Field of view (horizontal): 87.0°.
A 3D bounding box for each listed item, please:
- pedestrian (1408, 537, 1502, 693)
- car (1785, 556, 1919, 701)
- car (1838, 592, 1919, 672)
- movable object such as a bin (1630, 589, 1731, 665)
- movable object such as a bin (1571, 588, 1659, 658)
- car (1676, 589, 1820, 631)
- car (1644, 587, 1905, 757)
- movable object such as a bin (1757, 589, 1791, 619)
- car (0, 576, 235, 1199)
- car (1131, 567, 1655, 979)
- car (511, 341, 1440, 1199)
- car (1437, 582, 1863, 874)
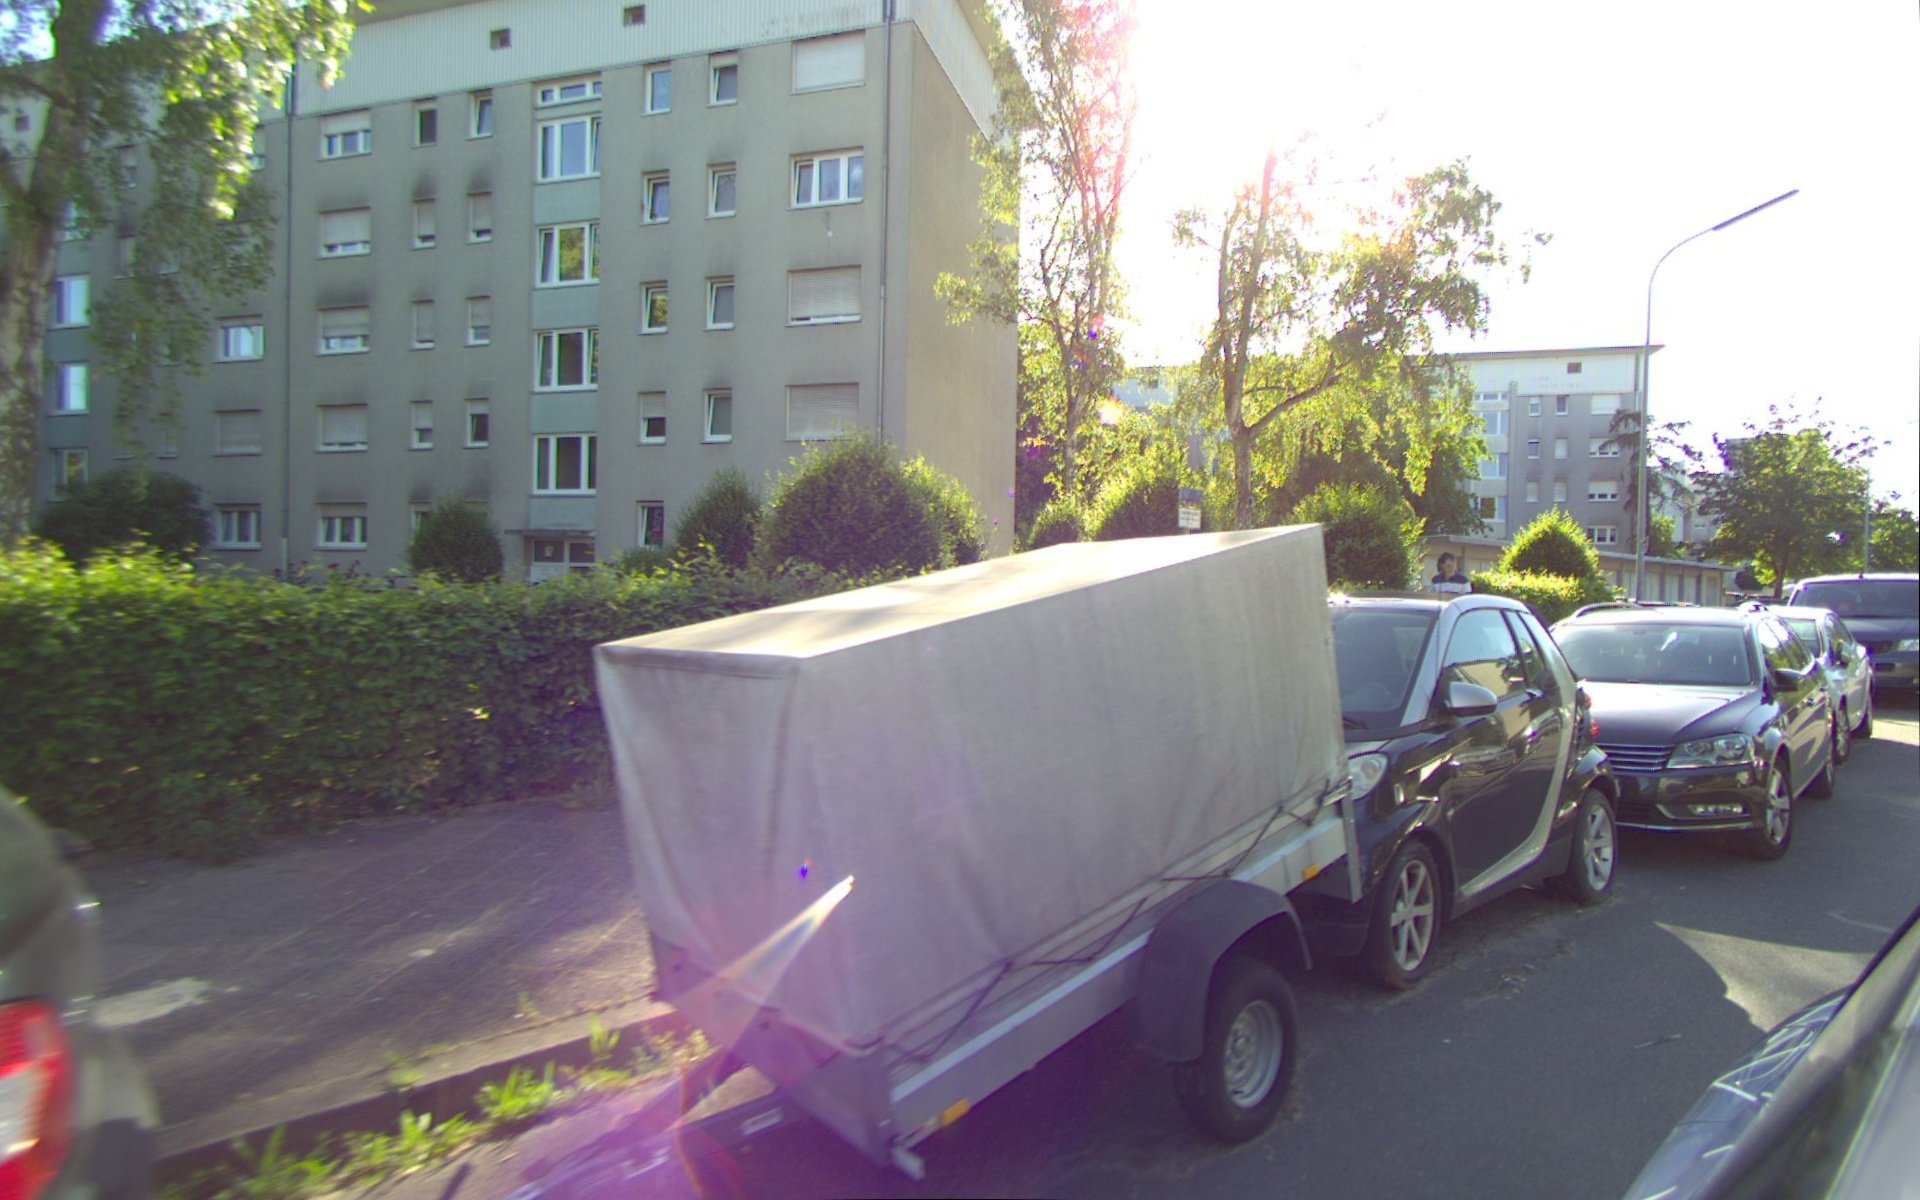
[{"bbox_3d":[6.364,0.168,13.016,0.857,1.911,0.705,0,3,-40],"label":"pedestrian"},{"bbox_3d":[14.393,0.381,15.677,4.624,1.959,1.855,0,0,-42],"label":"car"},{"bbox_3d":[18.839,0.578,19.817,4.553,1.436,1.805,0,1,-40],"label":"car"},{"bbox_3d":[13.747,0.499,19.323,1.359,1.325,1.031,1,4,-31],"label":"movable object such as a bin"},{"bbox_3d":[13.643,0.451,21.084,1.112,1.382,1.227,0,1,-38],"label":"movable object such as a bin"},{"bbox_3d":[30.568,0.346,39.337,1.788,1.513,4.186,0,1,-44],"label":"car"},{"bbox_3d":[8.894,0.639,10.934,3.967,1.509,1.625,0,0,-42],"label":"car"},{"bbox_3d":[43.020,0.204,53.500,1.321,1.499,1.013,1,1,43],"label":"movable object such as a bin"},{"bbox_3d":[-2.901,0.681,0.596,3.830,1.421,1.733,0,0,-44],"label":"car"},{"bbox_3d":[2.251,0.644,5.137,2.511,1.543,1.418,0,0,-38],"label":"car"},{"bbox_3d":[0.184,0.429,3.117,2.539,1.740,1.491,0,0,-42],"label":"car"},{"bbox_3d":[5.251,0.661,7.420,4.427,1.509,1.733,0,0,-44],"label":"car"}]
